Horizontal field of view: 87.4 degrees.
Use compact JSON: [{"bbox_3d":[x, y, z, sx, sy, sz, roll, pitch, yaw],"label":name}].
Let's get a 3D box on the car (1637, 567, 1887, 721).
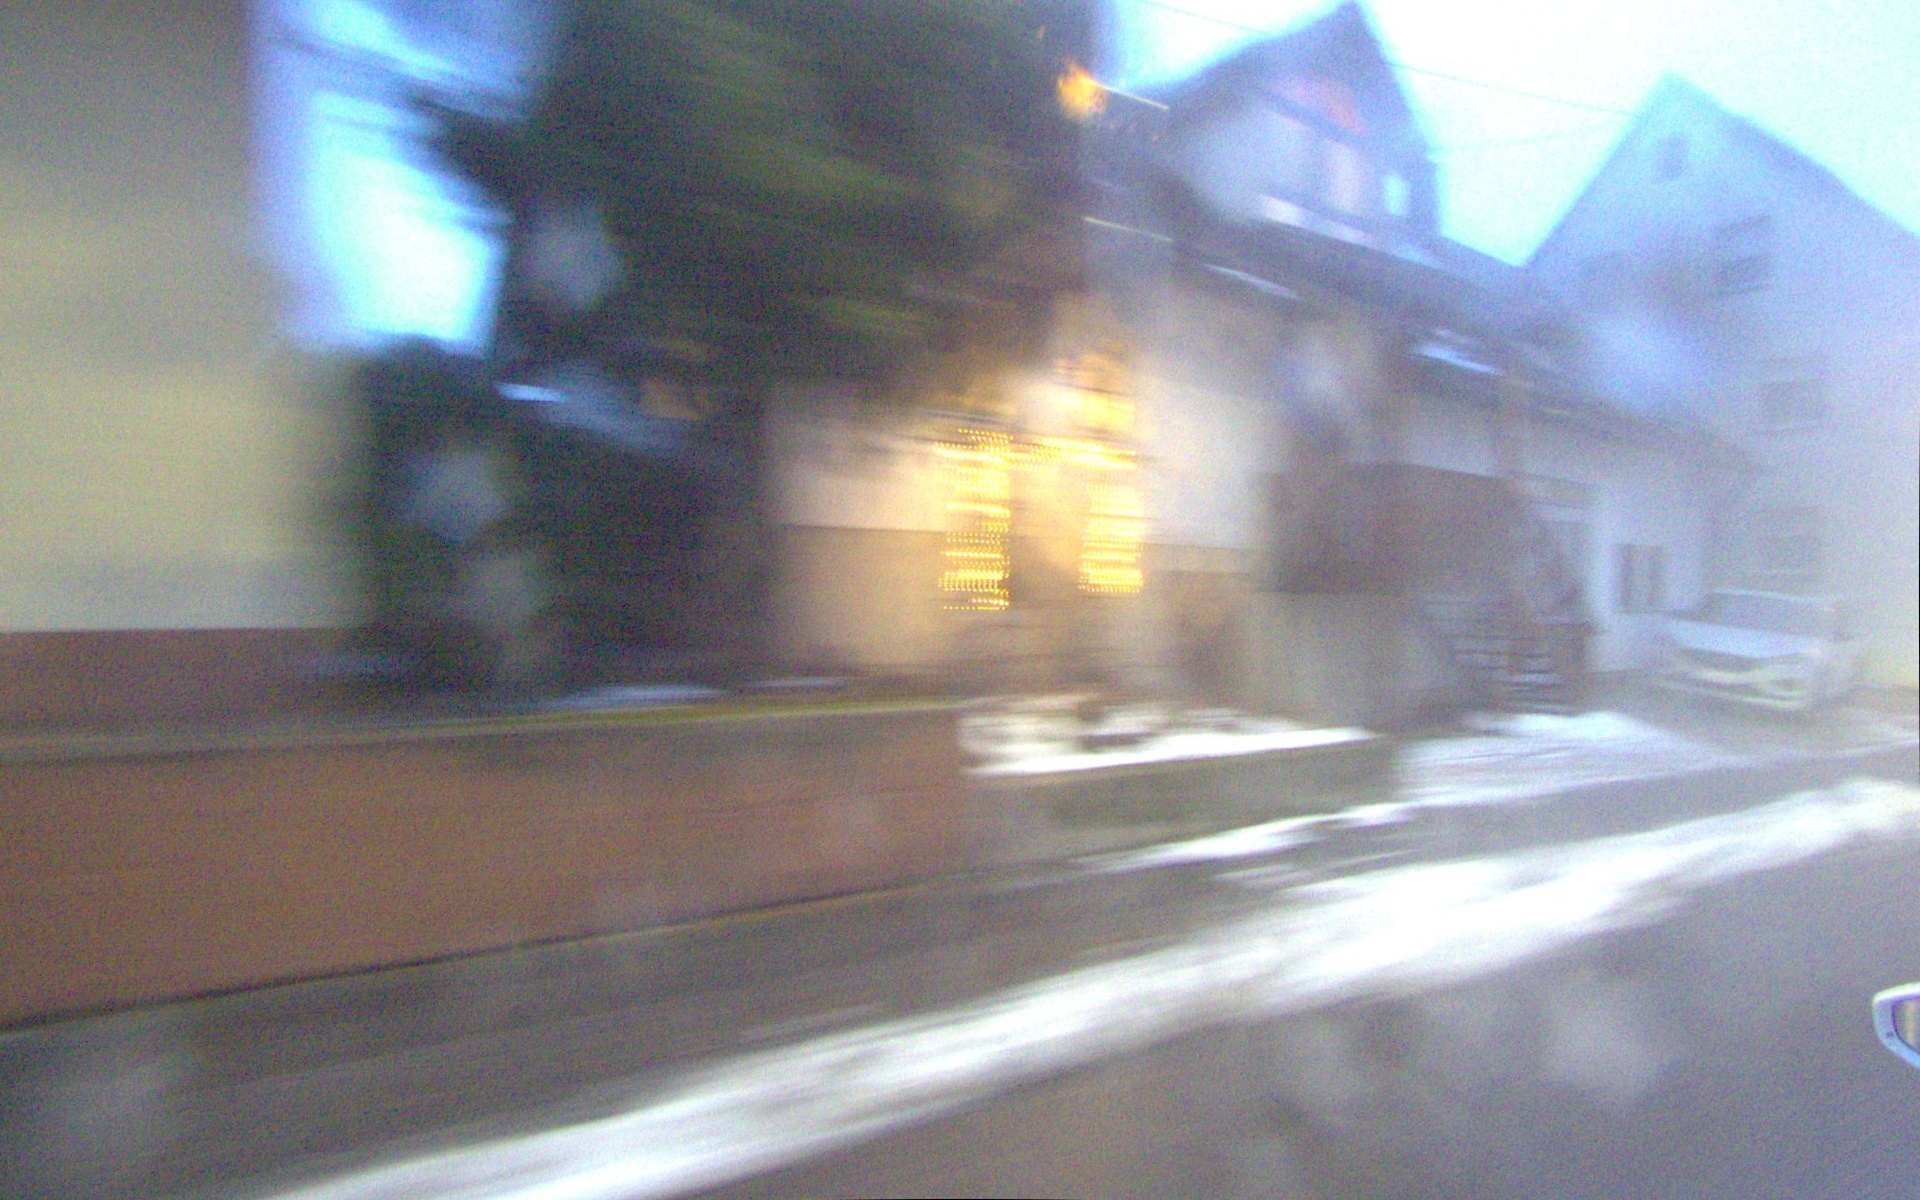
[{"bbox_3d":[11.540,0.546,14.336,4.600,1.760,1.750,1,5,-40],"label":"car"}]
